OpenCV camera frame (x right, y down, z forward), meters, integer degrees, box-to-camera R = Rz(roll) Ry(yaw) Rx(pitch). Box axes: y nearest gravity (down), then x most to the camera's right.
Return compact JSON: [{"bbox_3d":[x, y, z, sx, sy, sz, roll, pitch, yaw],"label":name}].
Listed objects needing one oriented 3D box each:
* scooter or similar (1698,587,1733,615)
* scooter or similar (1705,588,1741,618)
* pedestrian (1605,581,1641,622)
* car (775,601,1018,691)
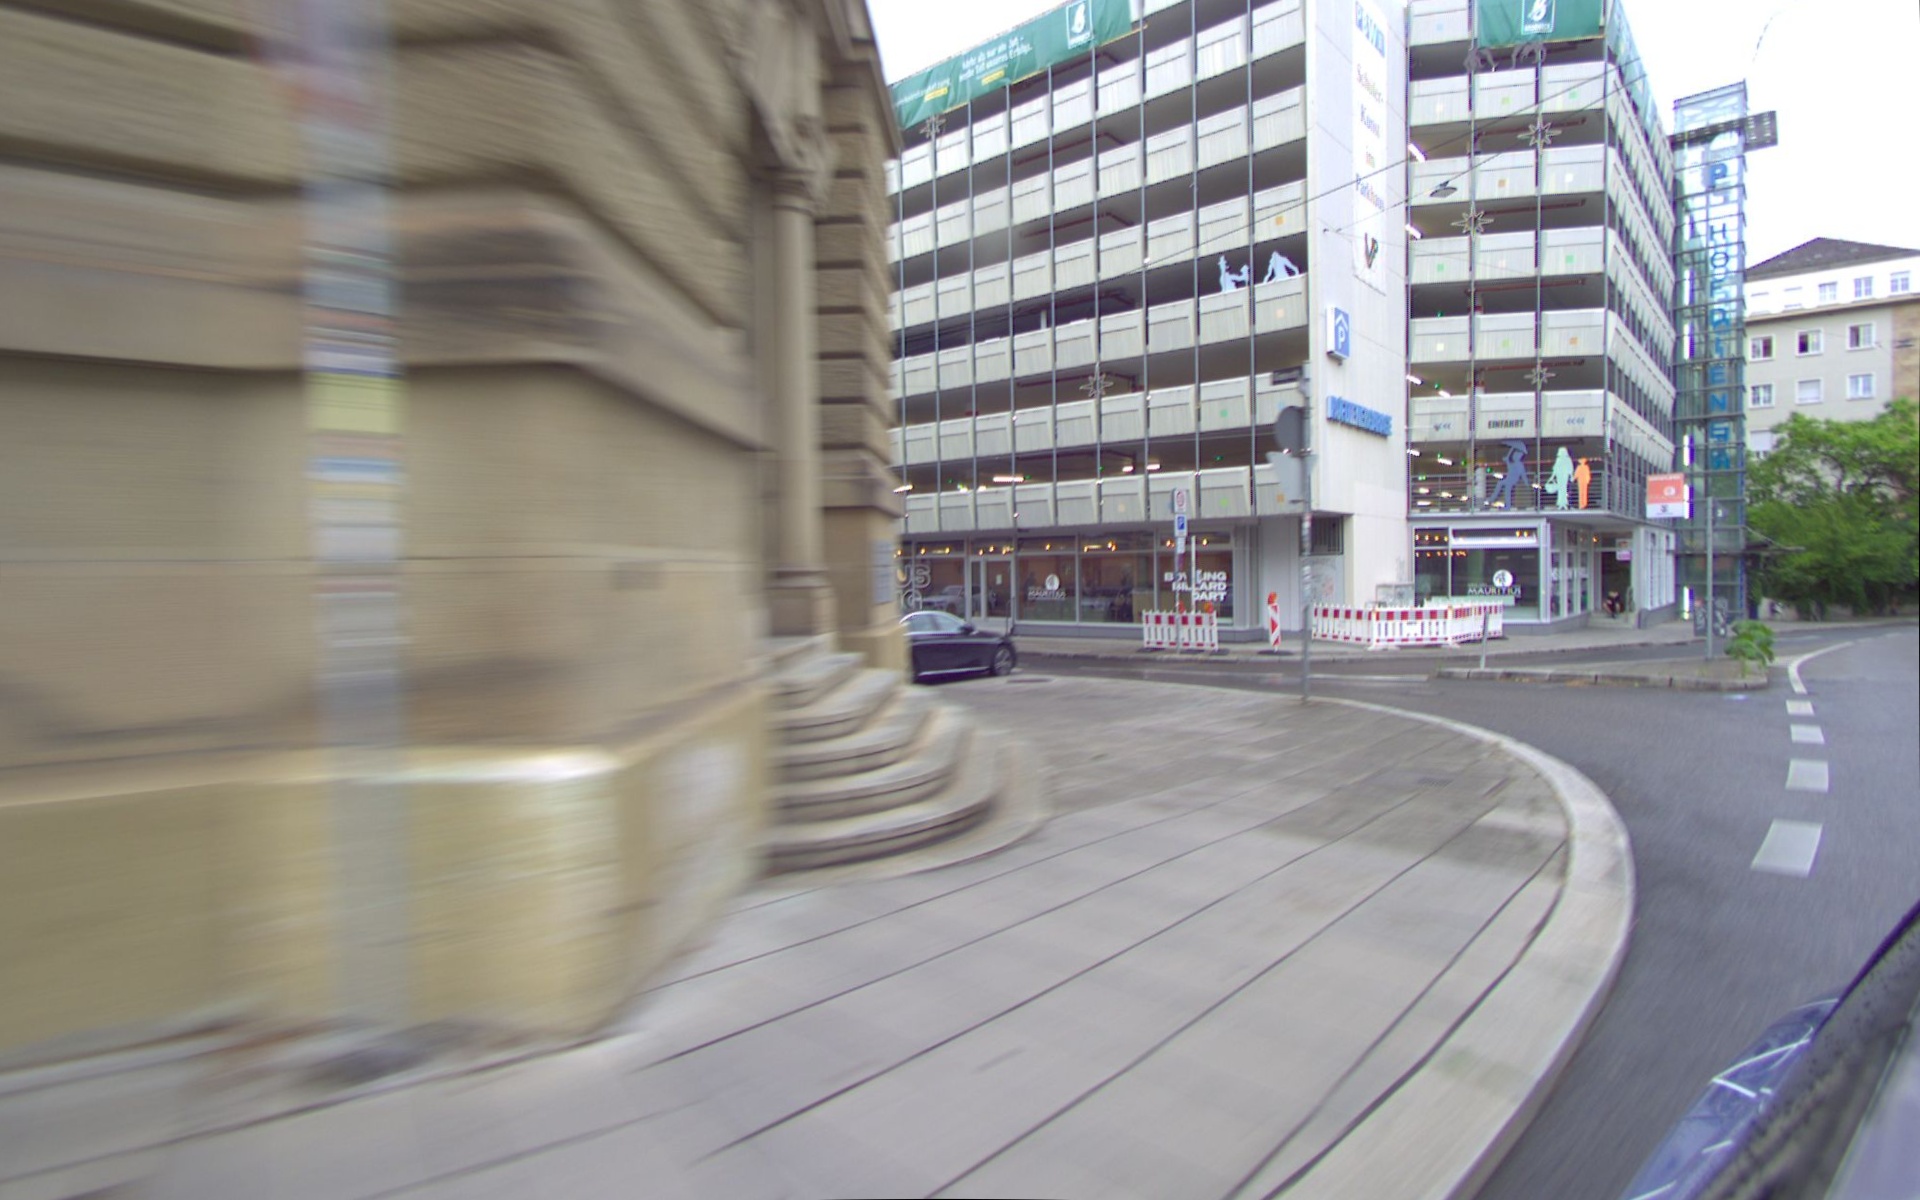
[{"bbox_3d":[32.082,0.041,42.972,1.063,1.189,0.463,1,0,20],"label":"scooter or similar"},{"bbox_3d":[31.139,0.127,41.289,1.063,1.189,0.463,1,0,20],"label":"scooter or similar"},{"bbox_3d":[23.313,0.049,35.593,0.901,1.400,1.017,2,2,41],"label":"pedestrian"},{"bbox_3d":[-1.100,0.803,19.568,1.972,1.415,4.629,-2,0,42],"label":"car"}]
